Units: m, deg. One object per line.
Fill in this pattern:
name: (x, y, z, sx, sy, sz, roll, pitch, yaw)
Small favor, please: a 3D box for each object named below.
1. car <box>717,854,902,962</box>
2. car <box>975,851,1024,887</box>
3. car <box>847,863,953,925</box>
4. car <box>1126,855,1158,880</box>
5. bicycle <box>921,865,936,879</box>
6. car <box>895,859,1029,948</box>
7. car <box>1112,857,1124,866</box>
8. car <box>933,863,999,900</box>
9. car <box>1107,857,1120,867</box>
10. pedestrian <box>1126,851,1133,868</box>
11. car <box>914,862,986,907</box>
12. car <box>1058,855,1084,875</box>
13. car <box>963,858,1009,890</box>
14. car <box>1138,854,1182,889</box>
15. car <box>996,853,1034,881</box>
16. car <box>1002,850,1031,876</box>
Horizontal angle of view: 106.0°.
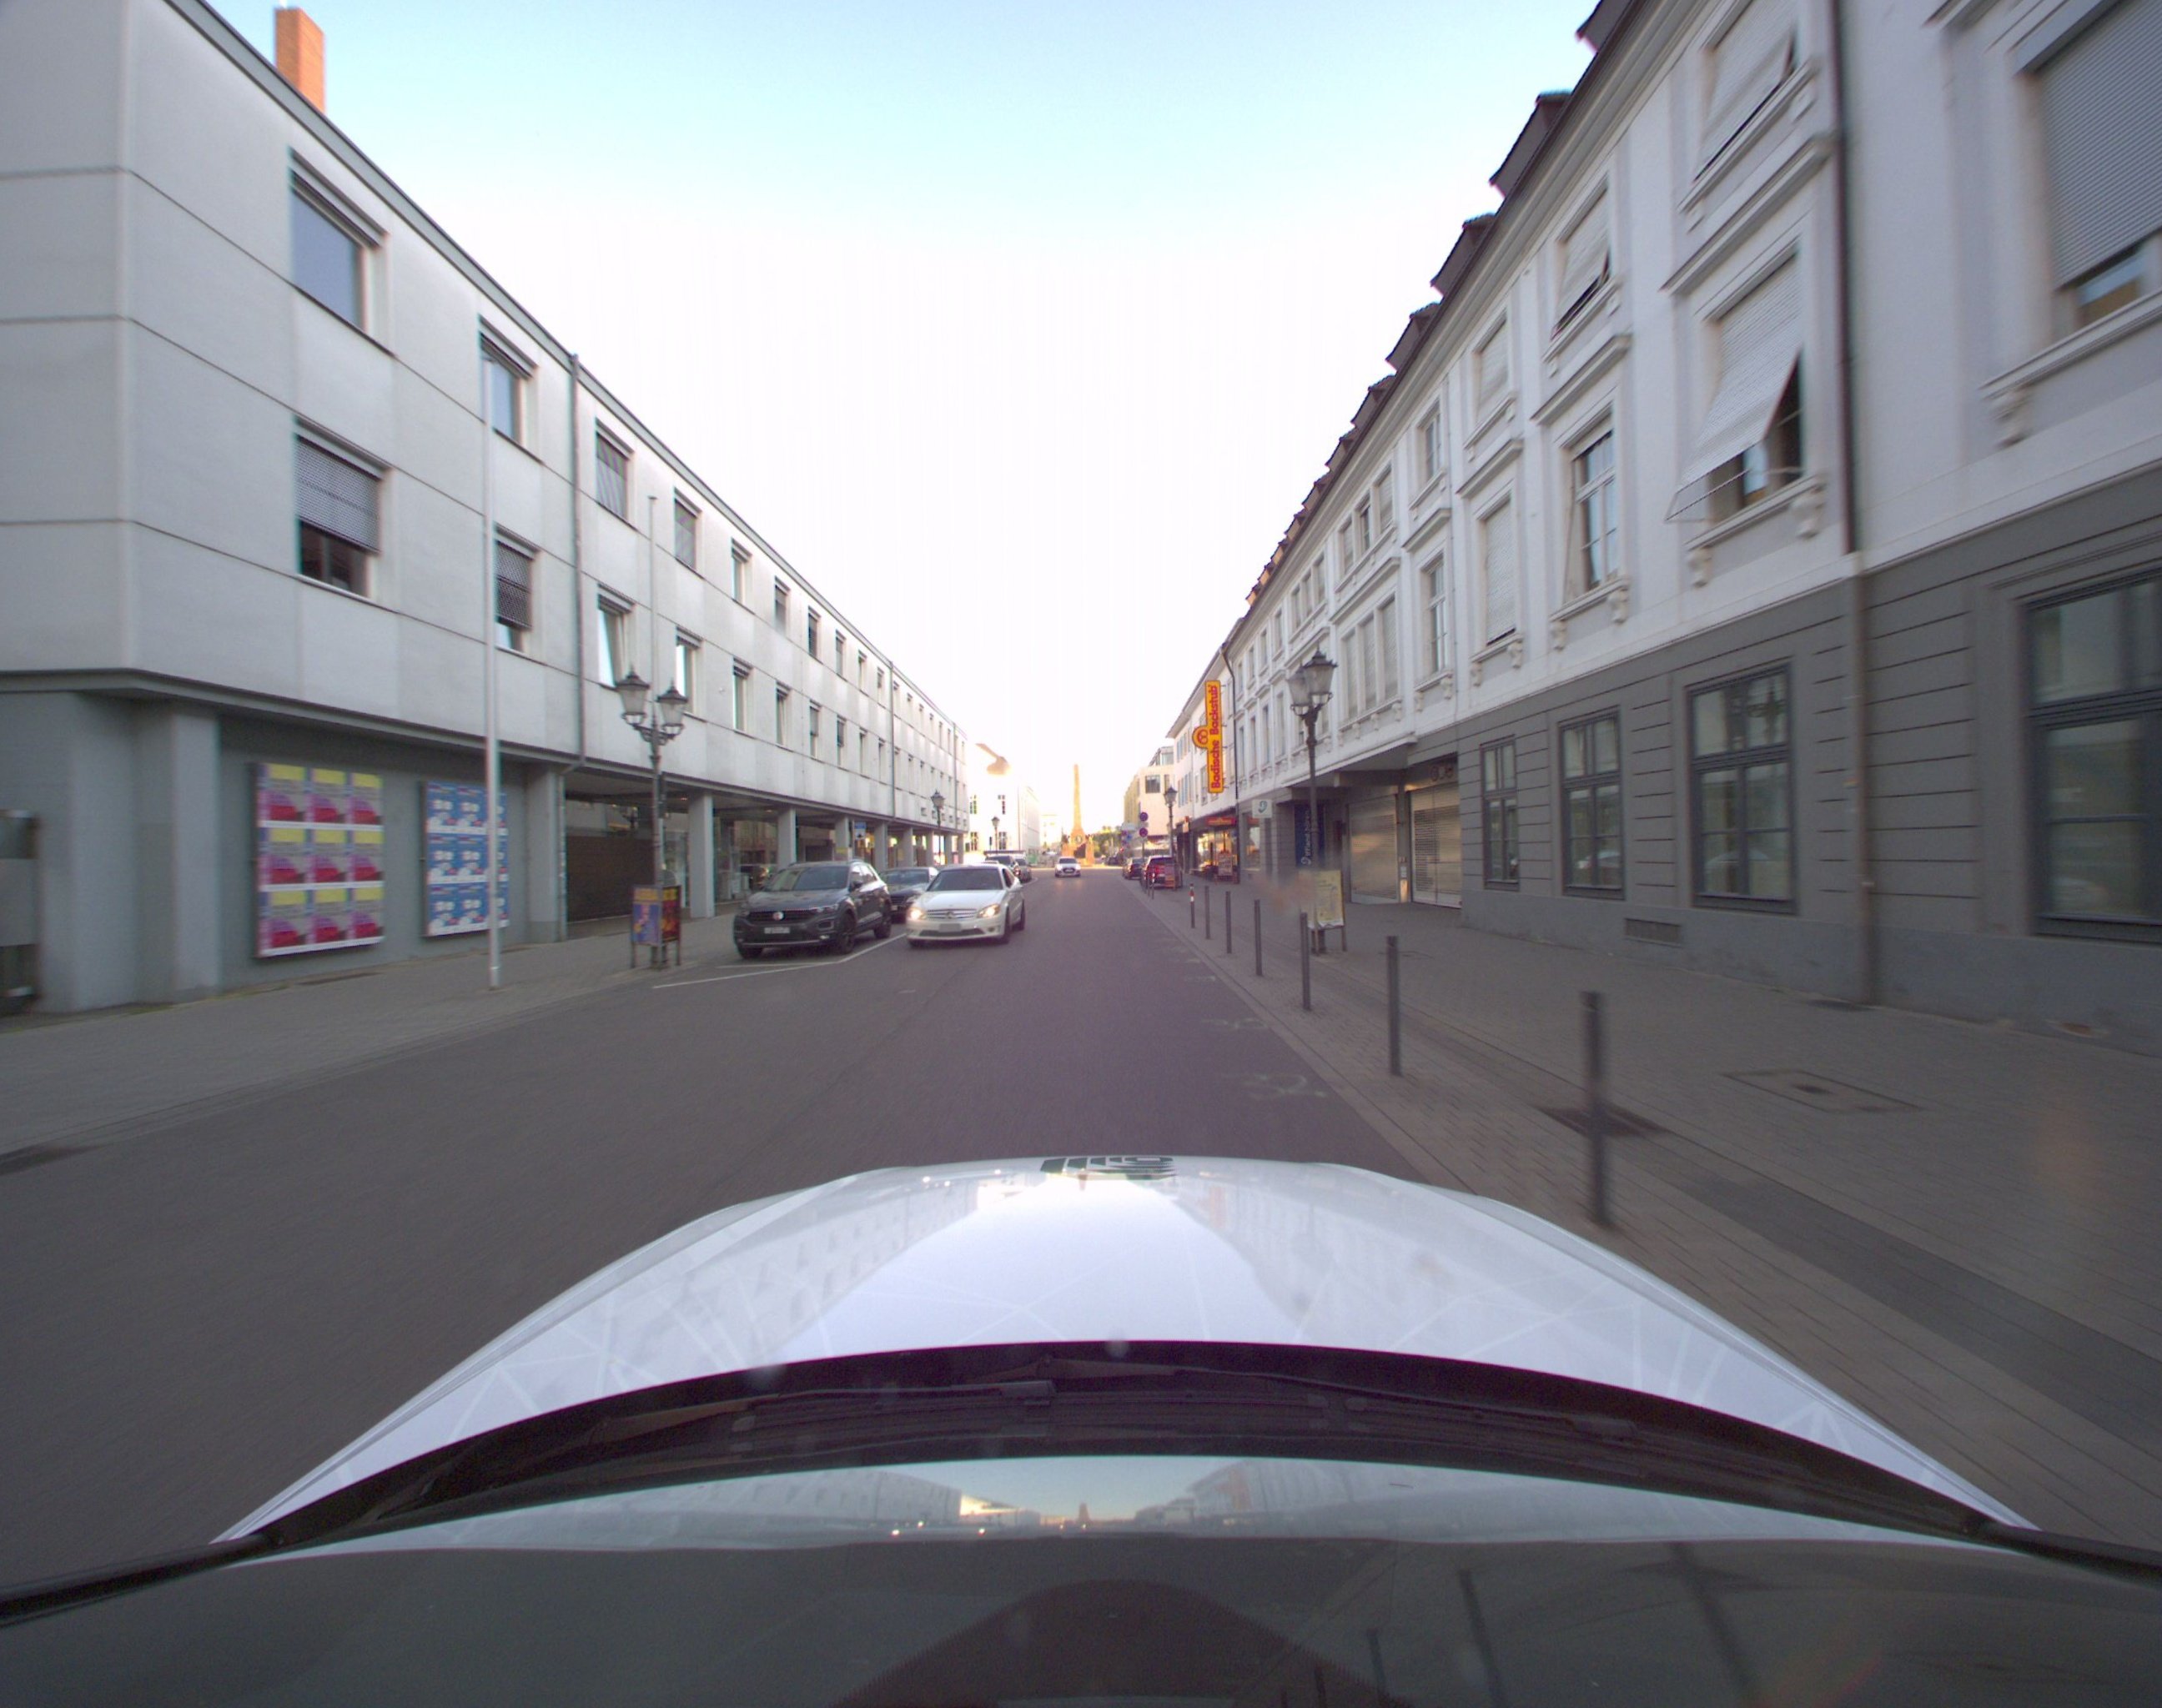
car: (-4.648, 0.836, 14.655, 1.778, 1.615, 4.167, -2, 0, 2)
car: (-4.356, 0.772, 44.204, 1.986, 1.728, 4.517, -3, 0, 1)
car: (-4.710, 0.986, 21.811, 1.778, 1.408, 4.090, -2, 0, 2)
car: (3.893, 0.843, 52.456, 1.795, 1.464, 4.118, -1, 0, 1)
bicycle: (-11.789, 1.398, 62.999, 0.730, 0.983, 2.335, -1, 0, 0)
car: (-2.088, 0.827, 15.461, 1.778, 1.408, 4.090, -2, 0, 2)
car: (6.448, 1.242, 142.586, 1.986, 1.464, 4.002, -2, 0, 2)
car: (-4.621, 1.066, 33.232, 1.986, 1.354, 4.001, -1, 0, 1)
car: (5.368, 1.302, 134.120, 1.986, 1.464, 4.002, -2, 0, 2)
pedestrian: (4.890, 0.556, 82.271, 0.688, 1.647, 0.695, -2, 0, 0)
car: (-4.608, 1.040, 29.197, 1.778, 1.408, 4.090, -2, 0, 2)
car: (-0.713, 0.811, 60.426, 1.757, 1.422, 4.001, -1, 0, 1)
car: (-4.502, 0.908, 39.056, 1.668, 1.400, 3.999, -2, 0, 0)
car: (3.694, 0.799, 38.606, 1.753, 1.523, 3.678, -1, 0, 1)
car: (-4.098, 0.802, 51.214, 1.986, 1.662, 4.001, -1, 0, 1)
car: (-4.818, 0.664, 60.082, 1.991, 1.816, 4.773, -1, 0, -6)
